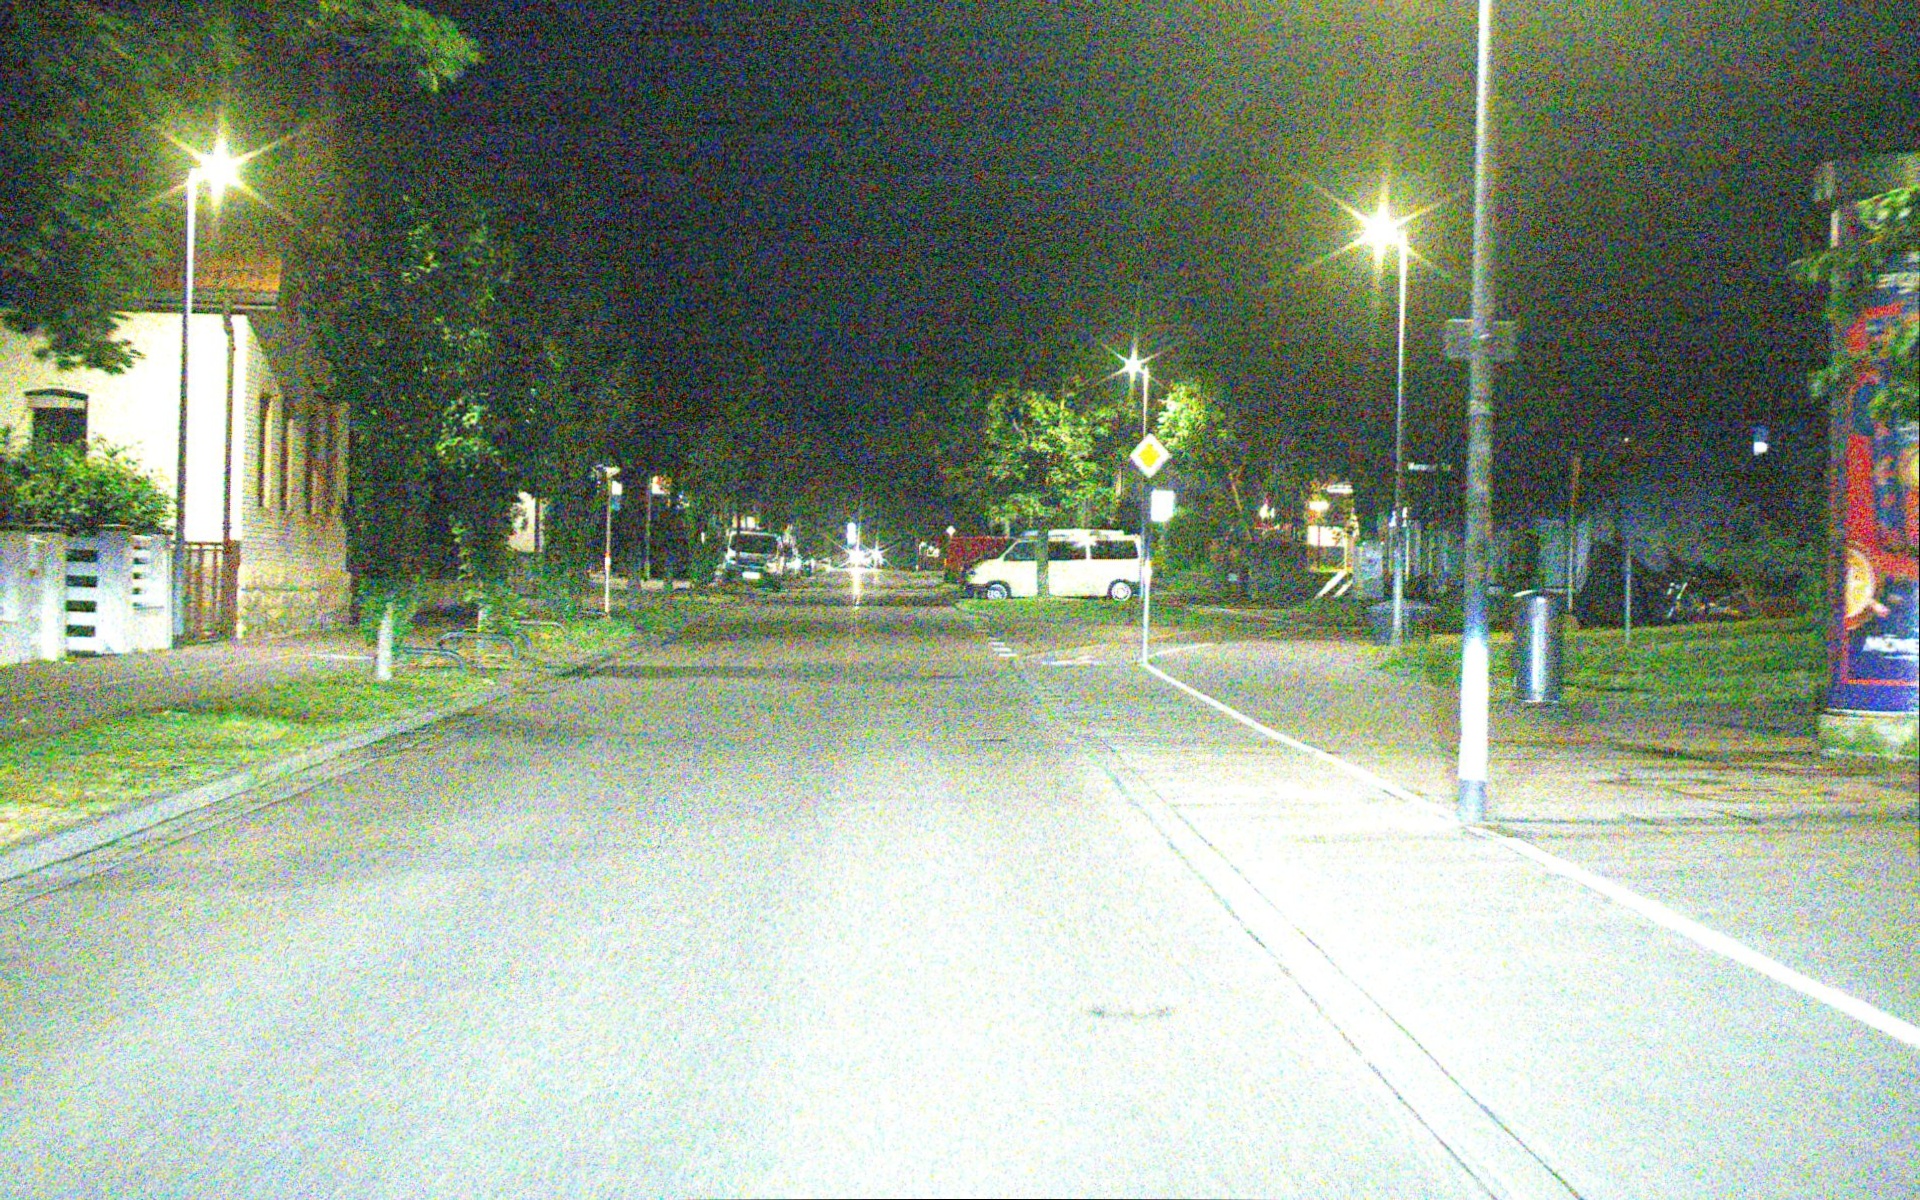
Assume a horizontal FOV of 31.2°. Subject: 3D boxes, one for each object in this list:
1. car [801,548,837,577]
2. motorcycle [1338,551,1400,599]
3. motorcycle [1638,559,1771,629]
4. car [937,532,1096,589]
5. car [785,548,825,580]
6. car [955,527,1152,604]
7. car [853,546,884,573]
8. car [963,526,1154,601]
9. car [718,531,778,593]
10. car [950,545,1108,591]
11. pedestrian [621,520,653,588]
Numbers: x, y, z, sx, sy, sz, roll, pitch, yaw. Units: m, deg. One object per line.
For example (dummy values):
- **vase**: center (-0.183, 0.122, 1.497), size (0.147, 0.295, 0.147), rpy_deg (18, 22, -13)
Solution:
- **car**: center (-6.772, -1.806, 165.558), size (1.683, 1.326, 3.600), rpy_deg (1, 1, -2)
- **motorcycle**: center (11.777, -0.739, 98.889), size (1.071, 1.322, 2.704), rpy_deg (1, 2, 23)
- **motorcycle**: center (13.367, -0.112, 61.760), size (2.258, 1.210, 0.711), rpy_deg (-1, 1, -16)
- **car**: center (1.937, -1.344, 117.586), size (5.184, 1.880, 2.101), rpy_deg (0, 1, 9)
- **car**: center (-6.691, -1.556, 148.764), size (1.683, 1.326, 3.600), rpy_deg (1, 1, -2)
- **car**: center (2.503, -0.944, 92.820), size (5.182, 2.007, 2.102), rpy_deg (-1, 1, -2)
- **car**: center (-5.816, -2.586, 218.776), size (1.927, 1.643, 3.822), rpy_deg (0, 1, -2)
- **car**: center (2.717, -1.024, 95.887), size (5.182, 2.007, 2.102), rpy_deg (-1, 1, -2)
- **car**: center (-7.160, -1.311, 116.360), size (1.824, 1.980, 4.466), rpy_deg (3, 1, -2)
- **car**: center (2.282, -1.066, 114.874), size (5.182, 1.464, 2.102), rpy_deg (-1, 1, -2)
- **pedestrian**: center (-9.833, -1.406, 104.679), size (0.785, 2.007, 1.204), rpy_deg (2, 1, -1)
